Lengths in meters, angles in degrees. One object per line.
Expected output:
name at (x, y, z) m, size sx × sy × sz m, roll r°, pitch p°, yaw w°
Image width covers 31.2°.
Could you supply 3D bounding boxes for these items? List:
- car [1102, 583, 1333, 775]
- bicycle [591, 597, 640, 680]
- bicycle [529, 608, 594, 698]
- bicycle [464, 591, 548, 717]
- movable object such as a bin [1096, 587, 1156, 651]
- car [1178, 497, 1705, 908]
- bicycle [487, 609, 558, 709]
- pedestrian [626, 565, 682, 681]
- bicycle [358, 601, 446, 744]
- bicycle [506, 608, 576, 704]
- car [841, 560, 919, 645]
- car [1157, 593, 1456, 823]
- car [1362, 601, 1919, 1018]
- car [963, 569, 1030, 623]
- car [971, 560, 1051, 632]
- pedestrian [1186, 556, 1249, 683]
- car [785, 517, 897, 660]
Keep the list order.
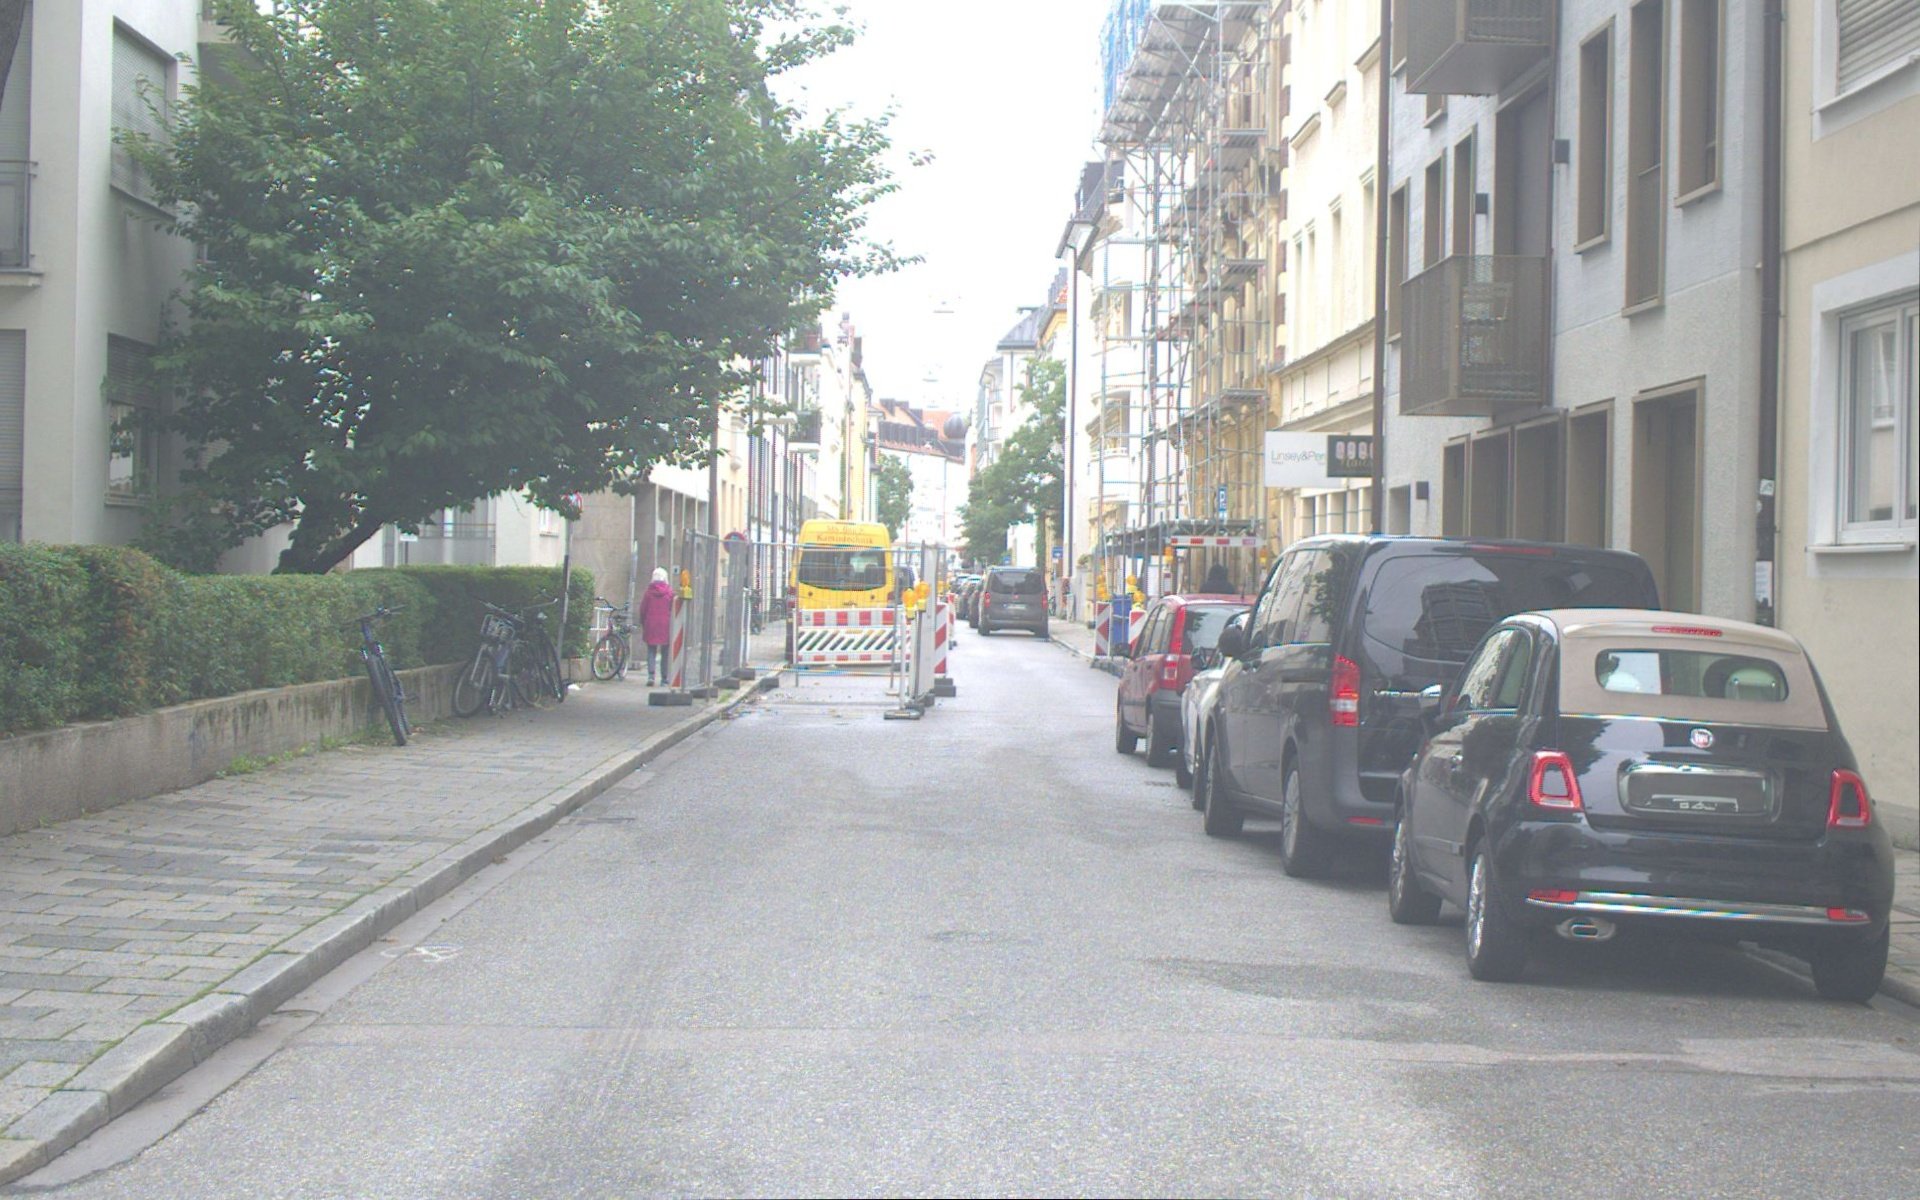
car at (2.243, 0.652, 30.881) m, size 1.772 × 1.519 × 4.066 m, roll 3°, pitch 0°, yaw 1°
bicycle at (-4.695, 0.511, 46.888) m, size 0.377 × 1.059 × 1.597 m, roll 7°, pitch 0°, yaw 0°
bicycle at (-4.507, 0.595, 38.948) m, size 0.443 × 0.975 × 1.816 m, roll 4°, pitch -1°, yaw 1°
bicycle at (-4.354, 0.510, 33.055) m, size 0.488 × 1.147 × 1.699 m, roll 4°, pitch -1°, yaw 1°
movable object such as a bin at (3.627, 0.409, 75.030) m, size 1.087 × 1.342 × 1.317 m, roll -2°, pitch 0°, yaw 12°
car at (2.582, 0.494, 19.753) m, size 1.990 × 1.970 × 4.885 m, roll 3°, pitch 0°, yaw -3°
bicycle at (-4.509, 0.600, 35.520) m, size 0.436 × 0.975 × 1.699 m, roll 4°, pitch -1°, yaw 1°
pedestrian at (-4.092, 0.297, 46.029) m, size 0.638 × 1.527 × 0.747 m, roll 1°, pitch 0°, yaw 1°
bicycle at (-4.468, 0.562, 27.597) m, size 0.346 × 1.068 × 1.780 m, roll 5°, pitch 0°, yaw -1°
bicycle at (-4.508, 0.596, 37.082) m, size 0.443 × 0.975 × 1.853 m, roll 4°, pitch -1°, yaw 1°
car at (-1.857, 0.041, 80.494) m, size 1.727 × 1.891 × 5.509 m, roll -1°, pitch 0°, yaw -1°
car at (2.489, 0.731, 25.650) m, size 1.768 × 1.456 × 4.380 m, roll 3°, pitch 0°, yaw 1°
car at (2.801, 0.794, 14.761) m, size 1.634 × 1.466 × 3.538 m, roll 3°, pitch 0°, yaw -1°
car at (1.128, -0.137, 107.457) m, size 1.894 × 1.635 × 4.322 m, roll 1°, pitch 1°, yaw -2°
car at (1.410, -0.135, 97.448) m, size 1.993 × 1.925 × 4.660 m, roll 2°, pitch 1°, yaw -2°
pedestrian at (3.654, 0.270, 48.831) m, size 0.729 × 1.746 × 0.988 m, roll -3°, pitch 0°, yaw -1°
car at (-2.227, -0.237, 65.365) m, size 1.993 × 2.570 × 6.737 m, roll 1°, pitch 0°, yaw -1°
